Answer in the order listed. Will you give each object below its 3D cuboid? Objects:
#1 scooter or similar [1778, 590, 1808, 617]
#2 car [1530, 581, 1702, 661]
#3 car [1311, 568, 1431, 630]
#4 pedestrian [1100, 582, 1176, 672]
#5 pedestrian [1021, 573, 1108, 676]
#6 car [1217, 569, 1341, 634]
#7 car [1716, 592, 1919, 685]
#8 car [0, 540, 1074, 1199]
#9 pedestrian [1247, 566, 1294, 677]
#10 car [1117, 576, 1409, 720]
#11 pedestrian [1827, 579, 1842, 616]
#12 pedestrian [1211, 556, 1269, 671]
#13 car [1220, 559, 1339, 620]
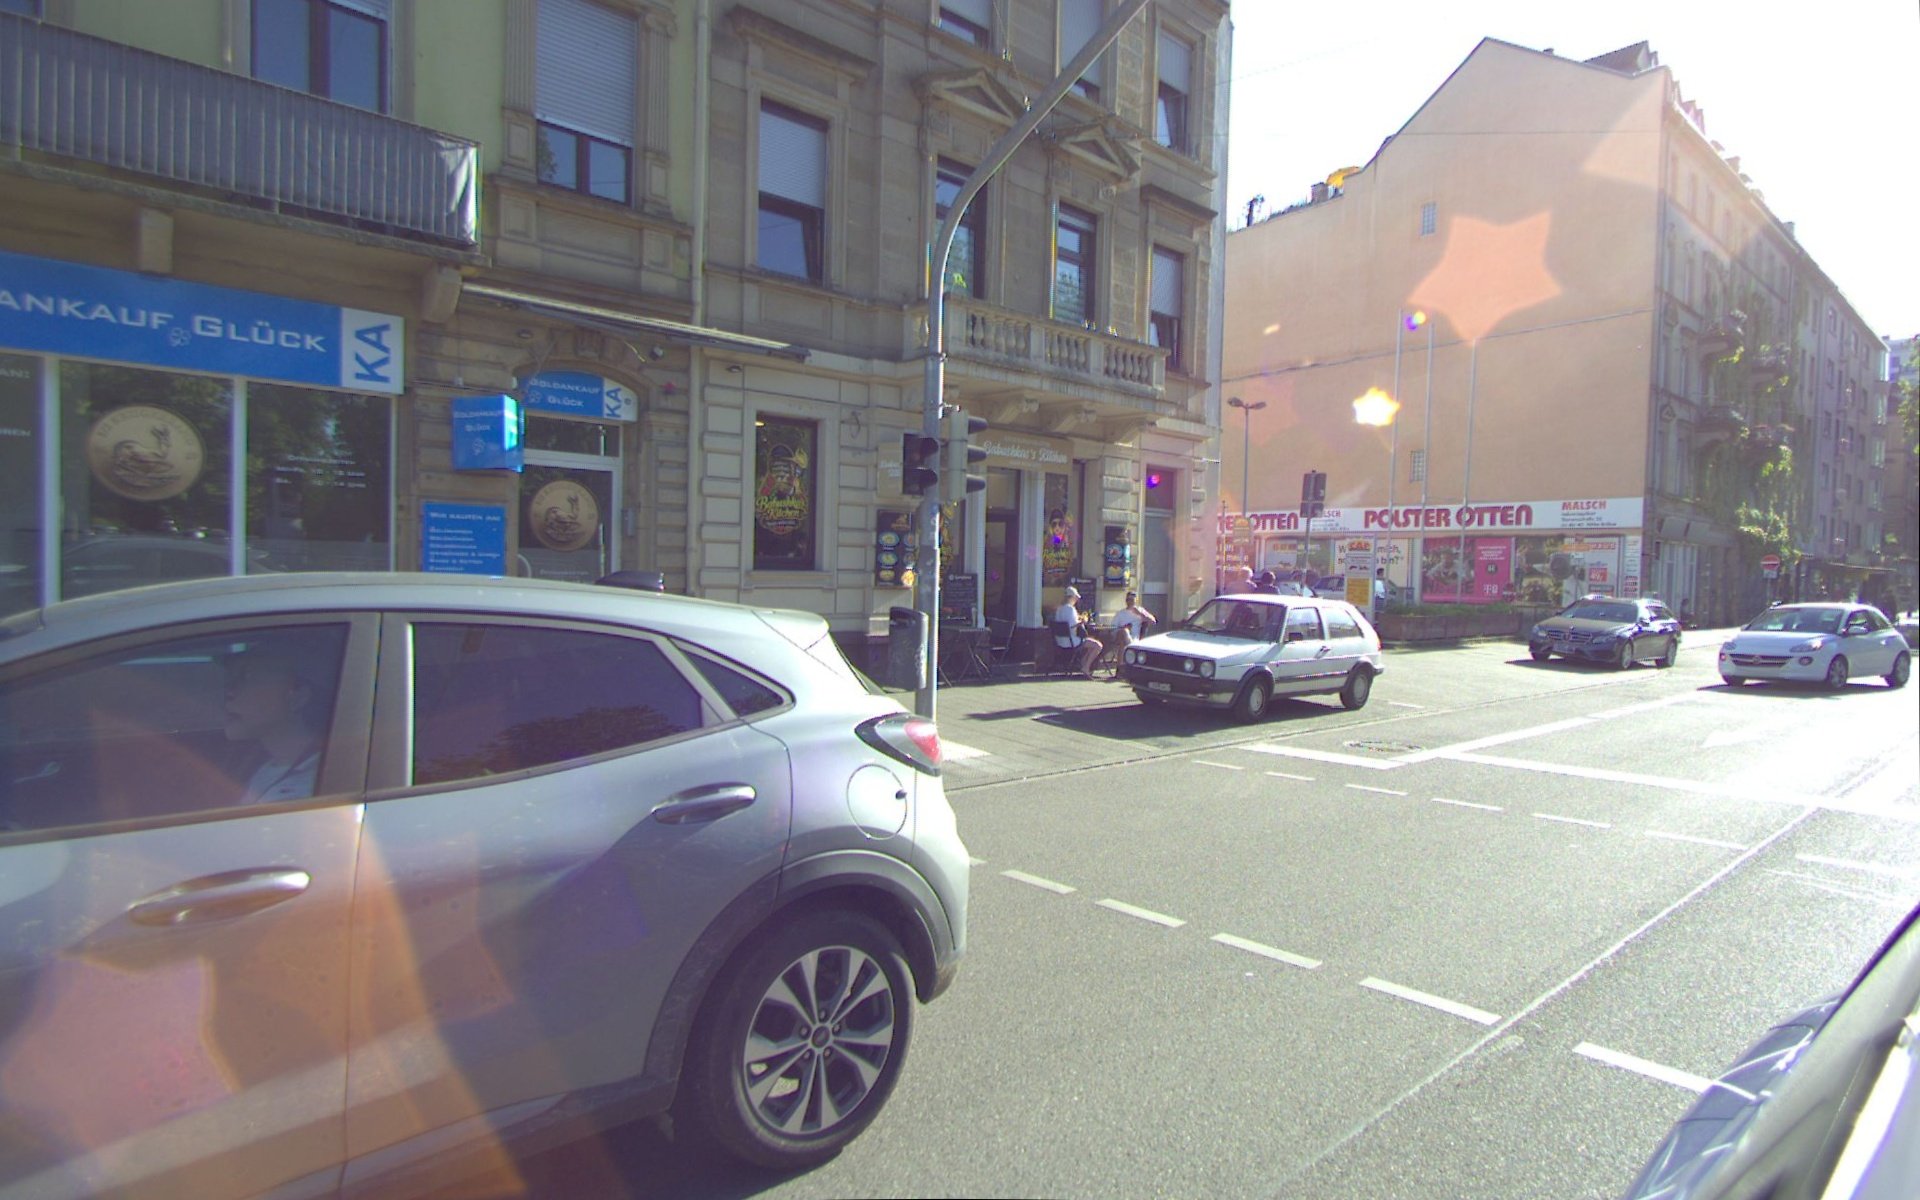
[{"bbox_3d":[38.897,0.138,47.256,0.631,1.188,1.719,2,2,25],"label":"scooter or similar"},{"bbox_3d":[14.794,0.400,22.723,4.649,1.505,1.838,0,5,-40],"label":"car"},{"bbox_3d":[11.988,-0.064,29.417,3.934,1.665,1.746,-1,2,-44],"label":"car"},{"bbox_3d":[2.743,0.392,15.595,0.645,1.297,0.902,0,3,-45],"label":"pedestrian"},{"bbox_3d":[1.514,0.335,14.728,0.645,1.388,1.015,0,4,-45],"label":"pedestrian"},{"bbox_3d":[8.063,0.007,25.470,3.339,1.504,1.559,0,2,-44],"label":"car"},{"bbox_3d":[15.480,0.614,18.077,3.704,1.472,1.611,-1,1,-25],"label":"car"},{"bbox_3d":[-1.840,0.663,2.357,4.303,1.547,1.701,0,1,-40],"label":"car"},{"bbox_3d":[4.947,0.326,16.149,0.381,1.729,0.551,0,2,-37],"label":"pedestrian"},{"bbox_3d":[3.917,0.500,12.791,3.933,1.432,1.567,0,5,-40],"label":"car"},{"bbox_3d":[44.275,-0.146,51.240,0.507,1.856,0.469,0,2,-40],"label":"pedestrian"},{"bbox_3d":[4.620,0.208,16.714,0.521,1.828,0.674,0,3,-40],"label":"pedestrian"},{"bbox_3d":[9.842,-0.347,31.014,3.933,1.714,1.747,-1,2,-43],"label":"car"}]
